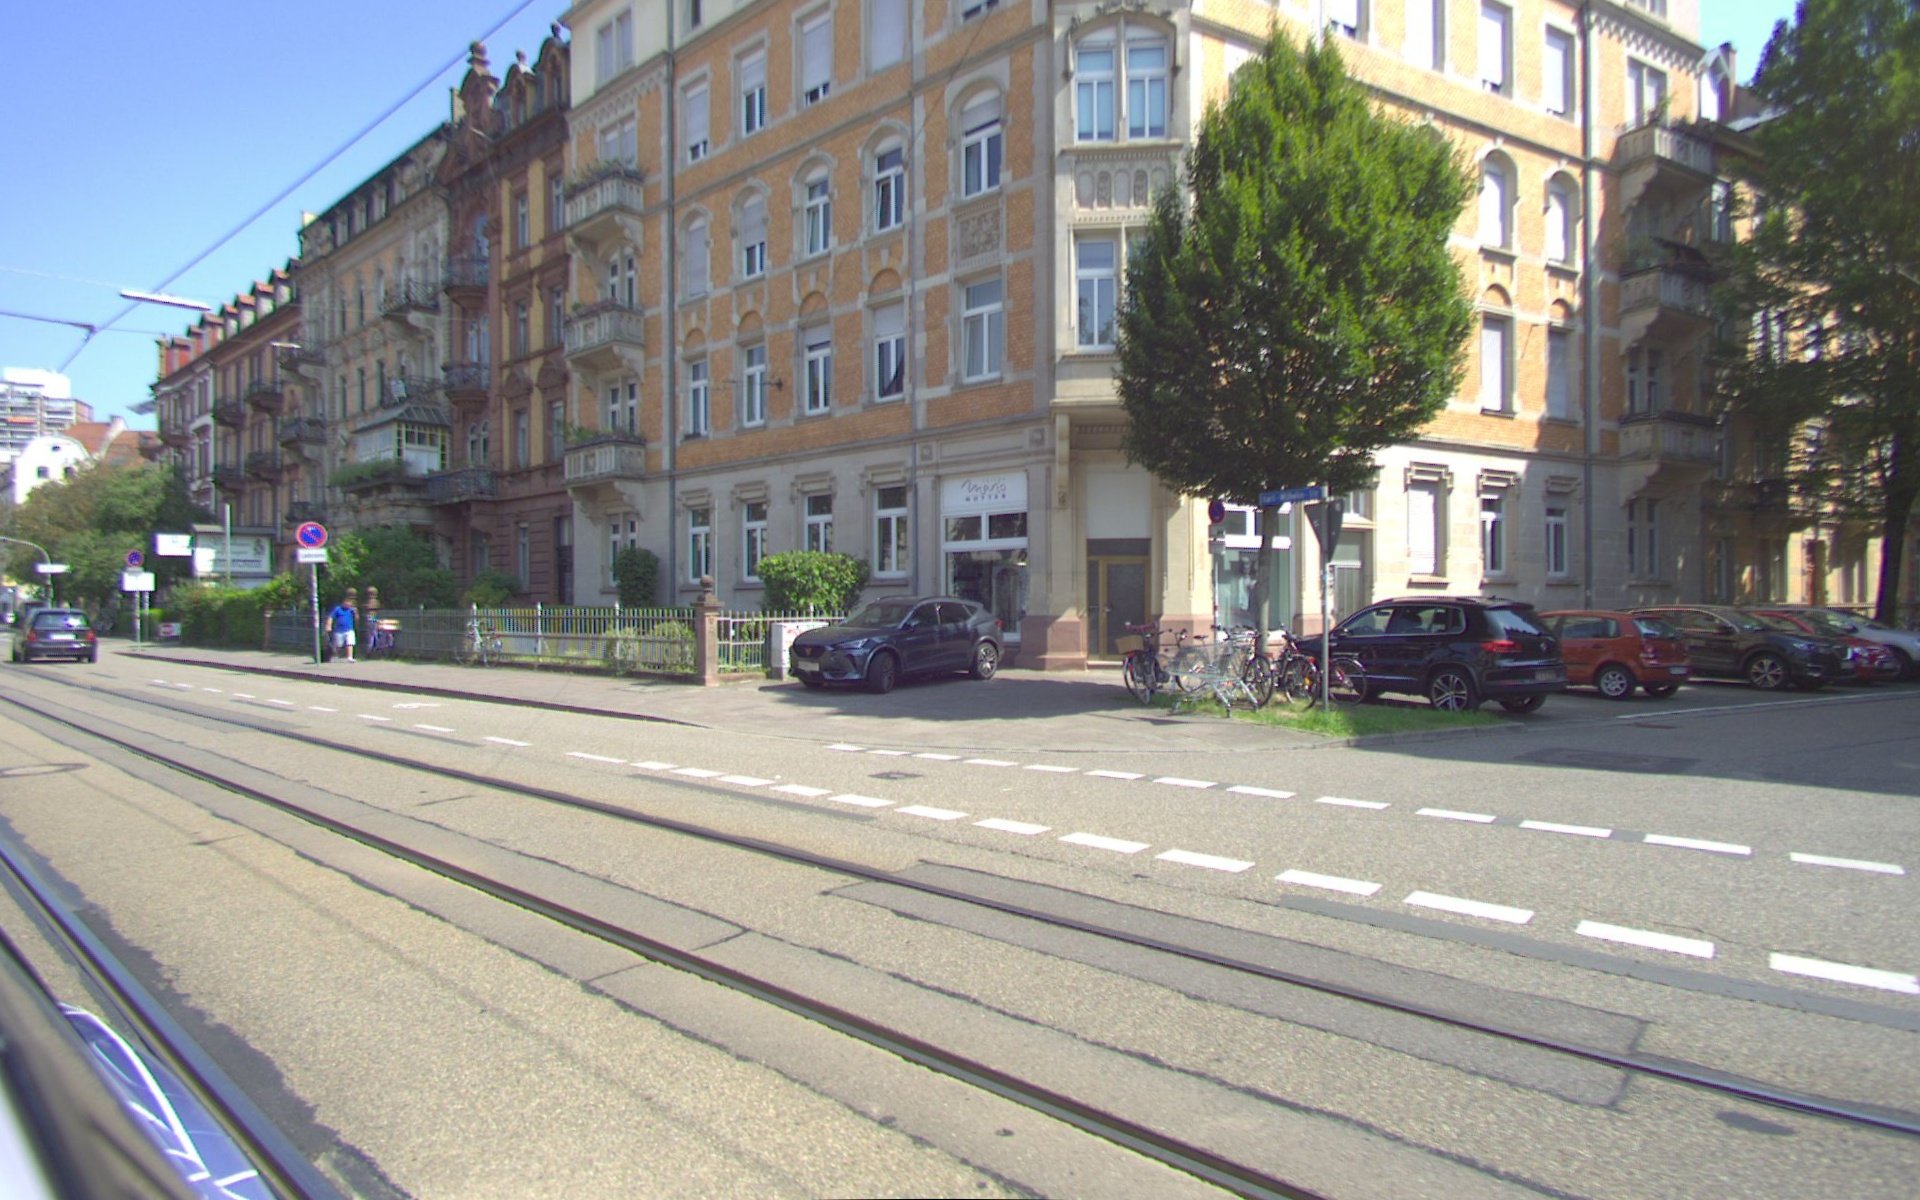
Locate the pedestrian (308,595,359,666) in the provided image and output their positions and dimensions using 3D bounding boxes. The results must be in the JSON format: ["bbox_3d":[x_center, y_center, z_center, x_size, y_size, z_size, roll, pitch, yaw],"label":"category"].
[{"bbox_3d":[-15.928,0.771,25.745,0.869,1.769,0.874,-1,-1,40],"label":"pedestrian"}]

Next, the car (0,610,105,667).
[{"bbox_3d":[-26.589,1.089,29.615,3.998,1.552,1.808,-1,-2,41],"label":"car"}]

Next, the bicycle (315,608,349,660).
[{"bbox_3d":[-17.796,0.951,28.665,1.581,1.416,0.386,-1,-1,41],"label":"bicycle"}]

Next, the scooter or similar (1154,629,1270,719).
[{"bbox_3d":[3.307,0.945,13.354,0.588,1.107,1.392,-1,-1,-39],"label":"scooter or similar"}]

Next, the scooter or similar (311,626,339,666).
[{"bbox_3d":[-16.205,1.172,25.828,0.583,0.990,0.397,-1,1,32],"label":"scooter or similar"}]

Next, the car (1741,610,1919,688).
[{"bbox_3d":[19.997,1.029,22.500,1.761,1.555,3.771,0,0,-28],"label":"car"}]

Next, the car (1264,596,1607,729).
[{"bbox_3d":[6.955,0.830,15.320,1.965,1.701,4.373,0,-1,-29],"label":"car"}]

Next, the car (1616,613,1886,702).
[{"bbox_3d":[15.342,1.031,19.833,1.761,1.487,3.771,0,0,-28],"label":"car"}]

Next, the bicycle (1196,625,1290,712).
[{"bbox_3d":[3.883,0.916,13.970,0.384,1.107,1.456,-1,-1,-25],"label":"bicycle"}]

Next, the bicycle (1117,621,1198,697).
[{"bbox_3d":[3.100,0.906,15.815,1.428,1.107,0.391,-1,-1,-39],"label":"bicycle"}]

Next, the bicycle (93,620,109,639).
[{"bbox_3d":[-46.192,1.595,54.389,1.657,0.994,0.482,-1,-1,44],"label":"bicycle"}]

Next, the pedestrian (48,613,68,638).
[{"bbox_3d":[-75.885,2.122,85.160,1.036,2.029,1.080,0,1,40],"label":"pedestrian"}]

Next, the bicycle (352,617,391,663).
[{"bbox_3d":[-15.307,1.025,26.302,1.581,1.156,0.386,-1,-1,41],"label":"bicycle"}]

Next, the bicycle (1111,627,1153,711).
[{"bbox_3d":[2.471,0.954,14.440,0.387,1.107,1.443,-1,-1,17],"label":"bicycle"}]

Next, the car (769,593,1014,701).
[{"bbox_3d":[-1.068,0.708,17.417,1.878,1.606,4.058,-1,0,42],"label":"car"}]

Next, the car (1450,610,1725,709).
[{"bbox_3d":[11.070,0.965,18.121,1.818,1.487,3.770,0,0,-30],"label":"car"}]

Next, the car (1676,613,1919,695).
[{"bbox_3d":[17.775,1.063,21.508,1.761,1.487,3.771,0,0,-28],"label":"car"}]

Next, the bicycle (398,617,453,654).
[{"bbox_3d":[-15.695,1.026,29.748,0.391,1.040,1.386,-1,-1,38],"label":"bicycle"}]

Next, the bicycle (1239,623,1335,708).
[{"bbox_3d":[4.554,0.891,14.188,0.384,1.107,1.456,-1,-1,-25],"label":"bicycle"}]

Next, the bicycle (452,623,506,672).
[{"bbox_3d":[-10.736,1.042,22.554,1.832,1.046,0.386,-1,-1,41],"label":"bicycle"}]
